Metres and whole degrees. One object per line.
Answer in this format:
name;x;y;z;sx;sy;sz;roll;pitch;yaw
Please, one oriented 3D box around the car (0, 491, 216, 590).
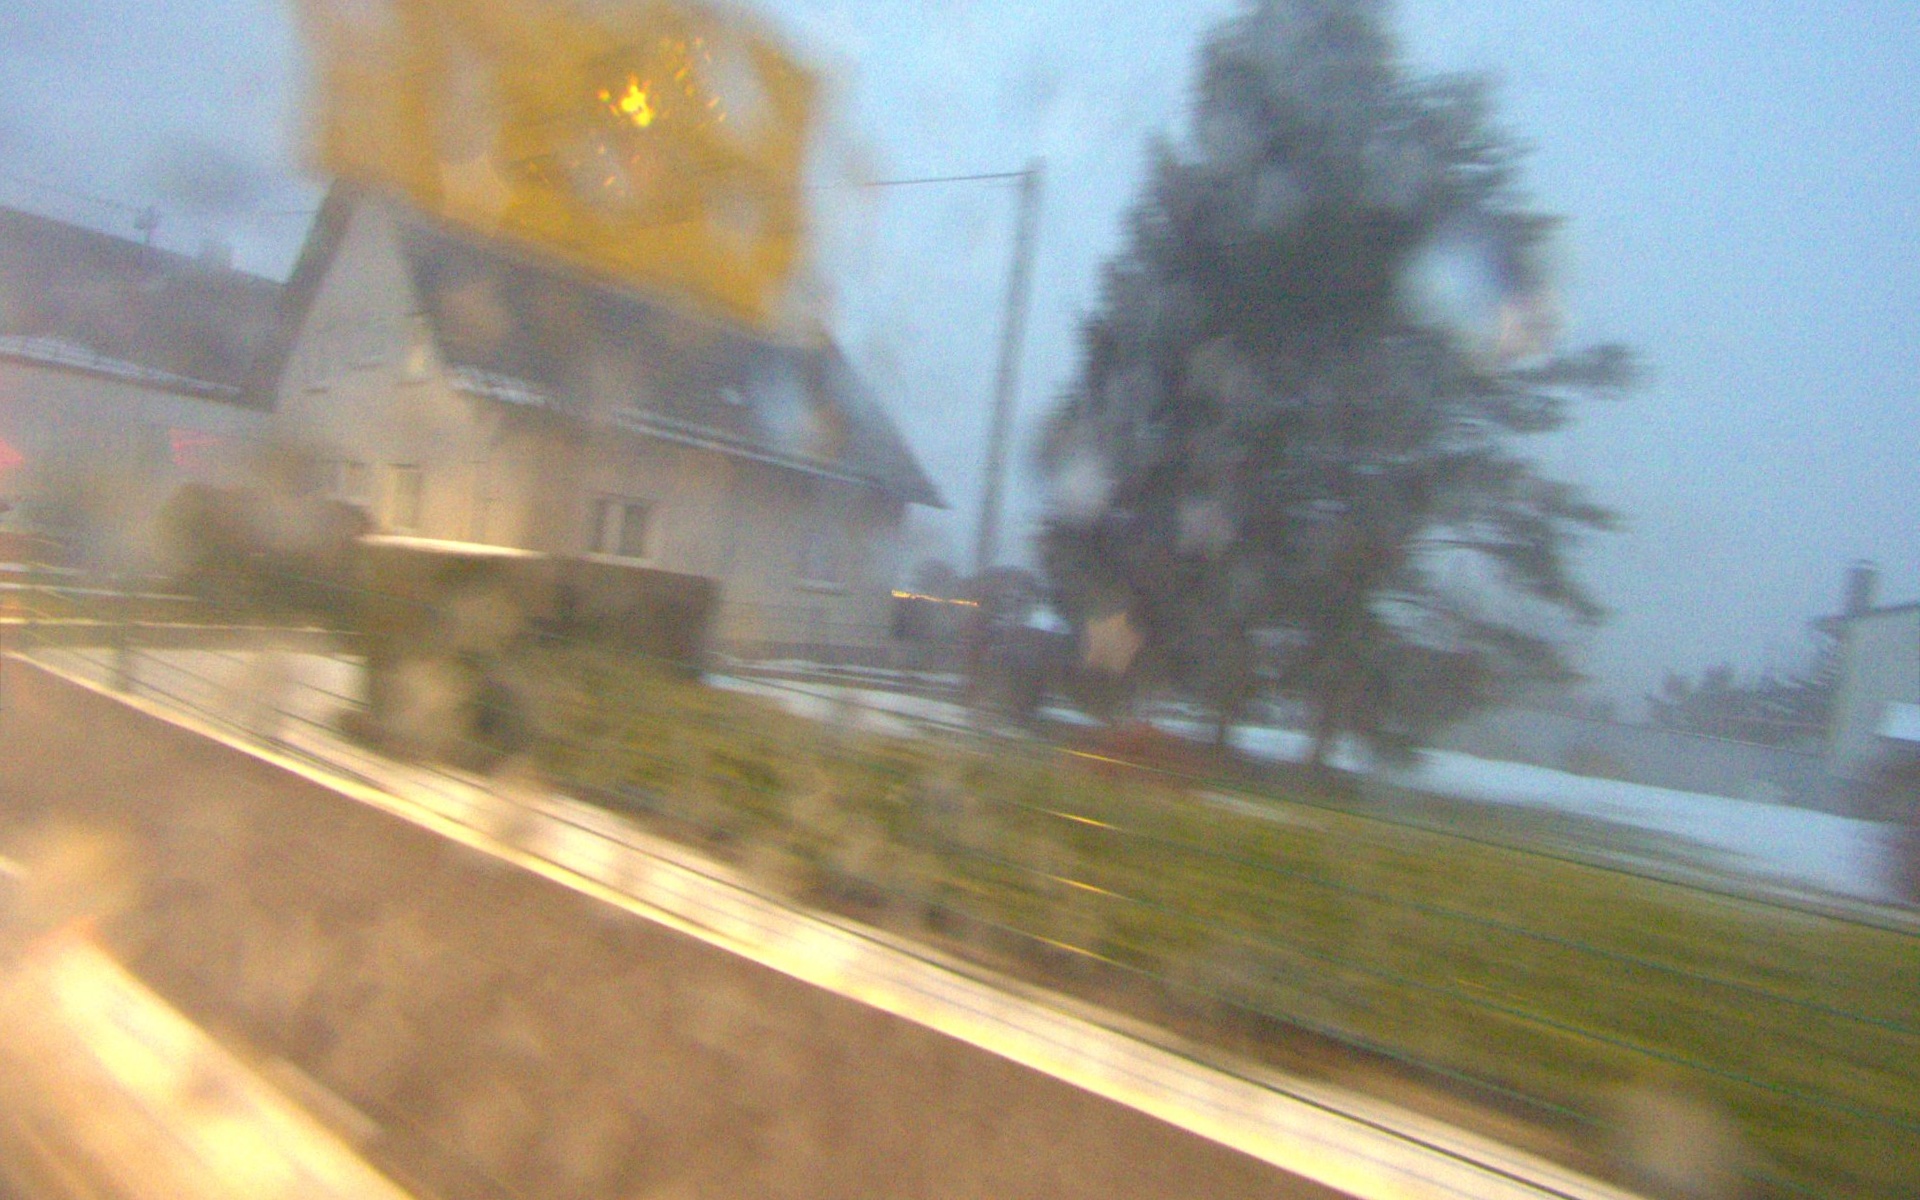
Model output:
car;-18.838;-1.287;21.777;1.689;1.470;3.989;9;-1;38
